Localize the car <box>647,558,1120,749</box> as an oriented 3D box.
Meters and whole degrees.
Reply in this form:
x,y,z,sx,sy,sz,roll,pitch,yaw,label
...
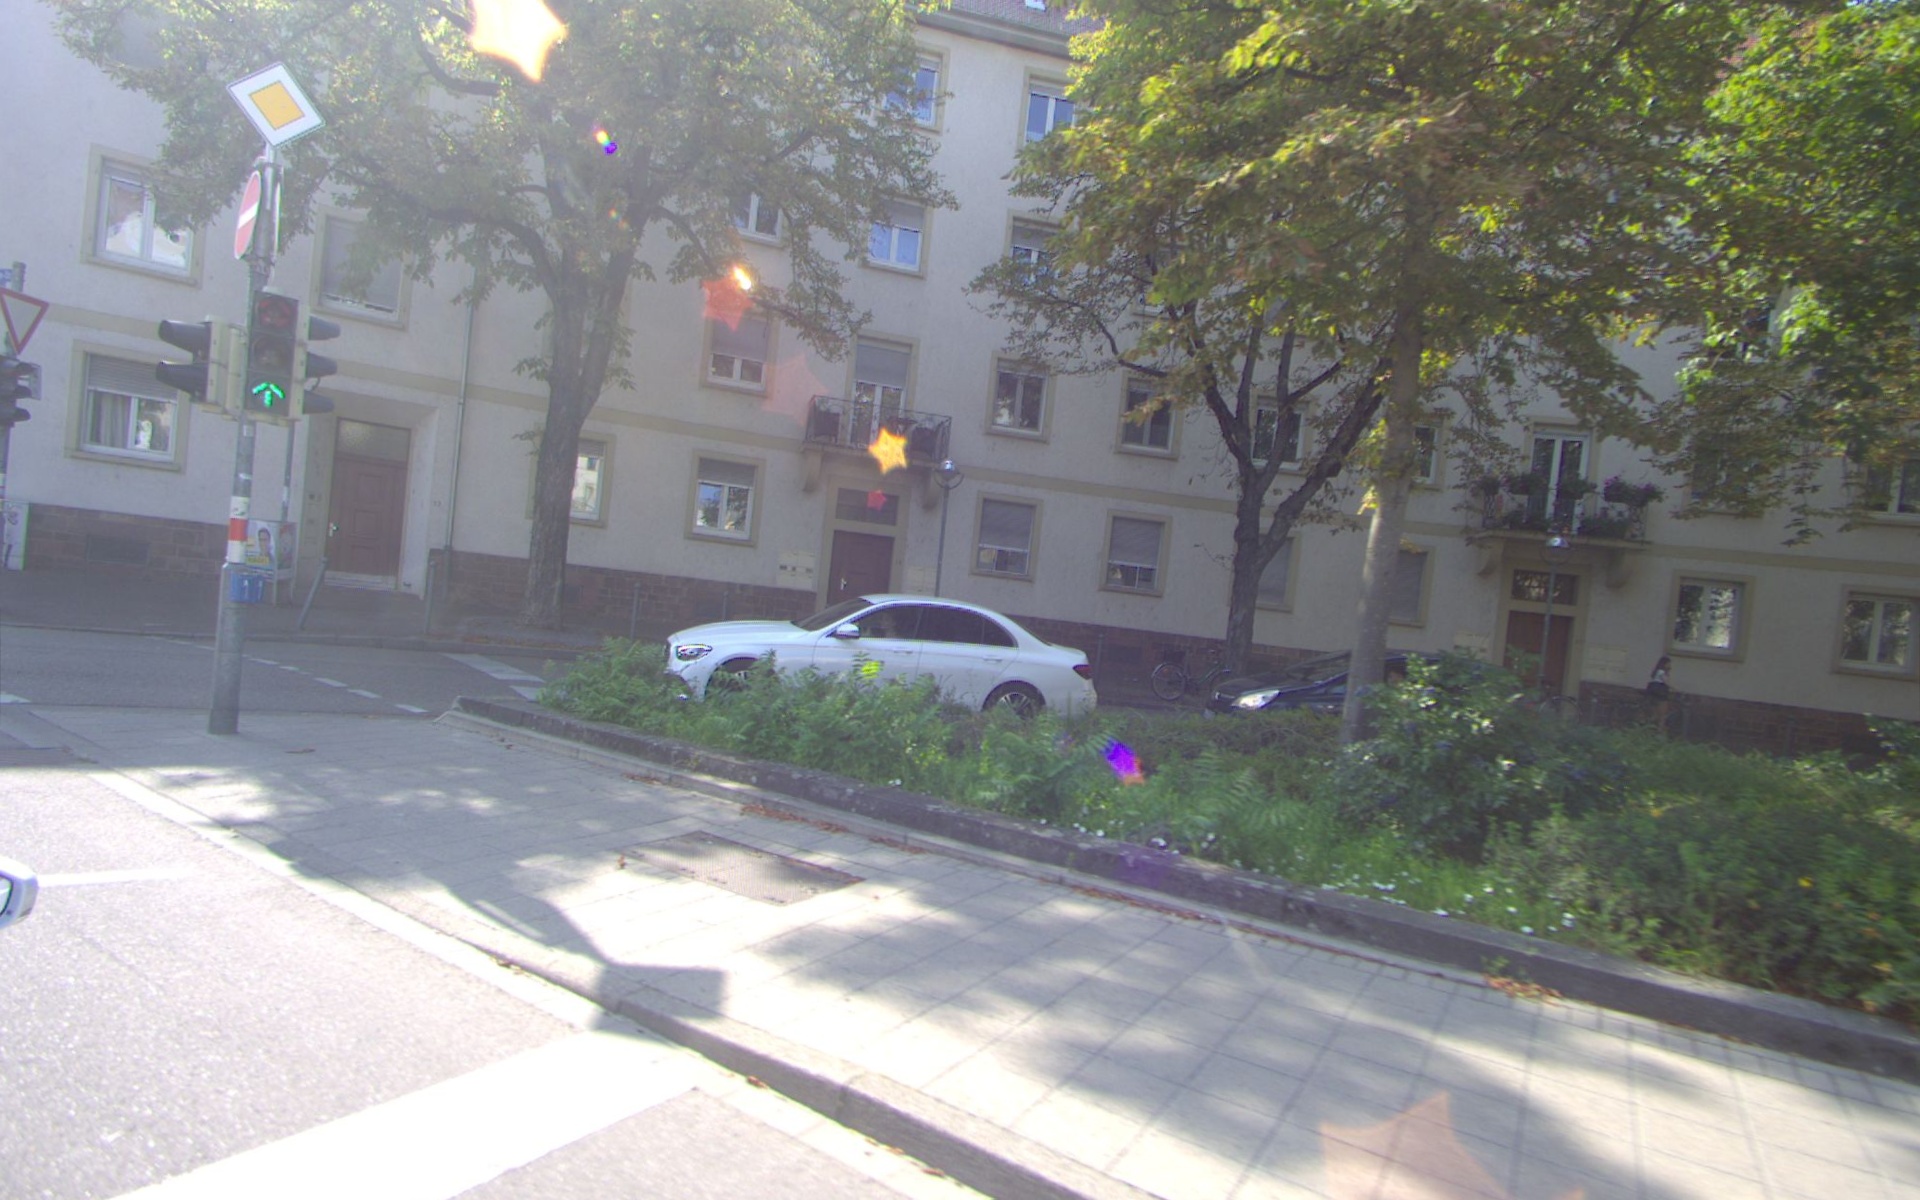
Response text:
x,y,z,sx,sy,sz,roll,pitch,yaw,label
-0.887,0.588,11.317,4.879,1.489,1.868,6,3,-17,car

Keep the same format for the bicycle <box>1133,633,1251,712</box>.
x,y,z,sx,sy,sz,roll,pitch,yaw,label
4.045,1.263,17.620,1.806,1.071,0.608,9,1,0,bicycle

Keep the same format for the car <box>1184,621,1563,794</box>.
x,y,z,sx,sy,sz,roll,pitch,yaw,label
4.970,1.263,12.464,3.819,1.470,1.749,7,2,-2,car

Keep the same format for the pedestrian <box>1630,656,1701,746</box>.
x,y,z,sx,sy,sz,roll,pitch,yaw,label
14.309,2.034,20.427,0.850,1.693,0.688,7,1,21,pedestrian

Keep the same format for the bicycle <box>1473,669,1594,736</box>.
x,y,z,sx,sy,sz,roll,pitch,yaw,label
11.089,1.971,19.493,1.873,1.020,0.534,7,1,12,bicycle

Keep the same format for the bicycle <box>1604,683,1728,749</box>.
x,y,z,sx,sy,sz,roll,pitch,yaw,label
14.150,2.316,20.221,1.874,1.020,0.534,7,1,21,bicycle
